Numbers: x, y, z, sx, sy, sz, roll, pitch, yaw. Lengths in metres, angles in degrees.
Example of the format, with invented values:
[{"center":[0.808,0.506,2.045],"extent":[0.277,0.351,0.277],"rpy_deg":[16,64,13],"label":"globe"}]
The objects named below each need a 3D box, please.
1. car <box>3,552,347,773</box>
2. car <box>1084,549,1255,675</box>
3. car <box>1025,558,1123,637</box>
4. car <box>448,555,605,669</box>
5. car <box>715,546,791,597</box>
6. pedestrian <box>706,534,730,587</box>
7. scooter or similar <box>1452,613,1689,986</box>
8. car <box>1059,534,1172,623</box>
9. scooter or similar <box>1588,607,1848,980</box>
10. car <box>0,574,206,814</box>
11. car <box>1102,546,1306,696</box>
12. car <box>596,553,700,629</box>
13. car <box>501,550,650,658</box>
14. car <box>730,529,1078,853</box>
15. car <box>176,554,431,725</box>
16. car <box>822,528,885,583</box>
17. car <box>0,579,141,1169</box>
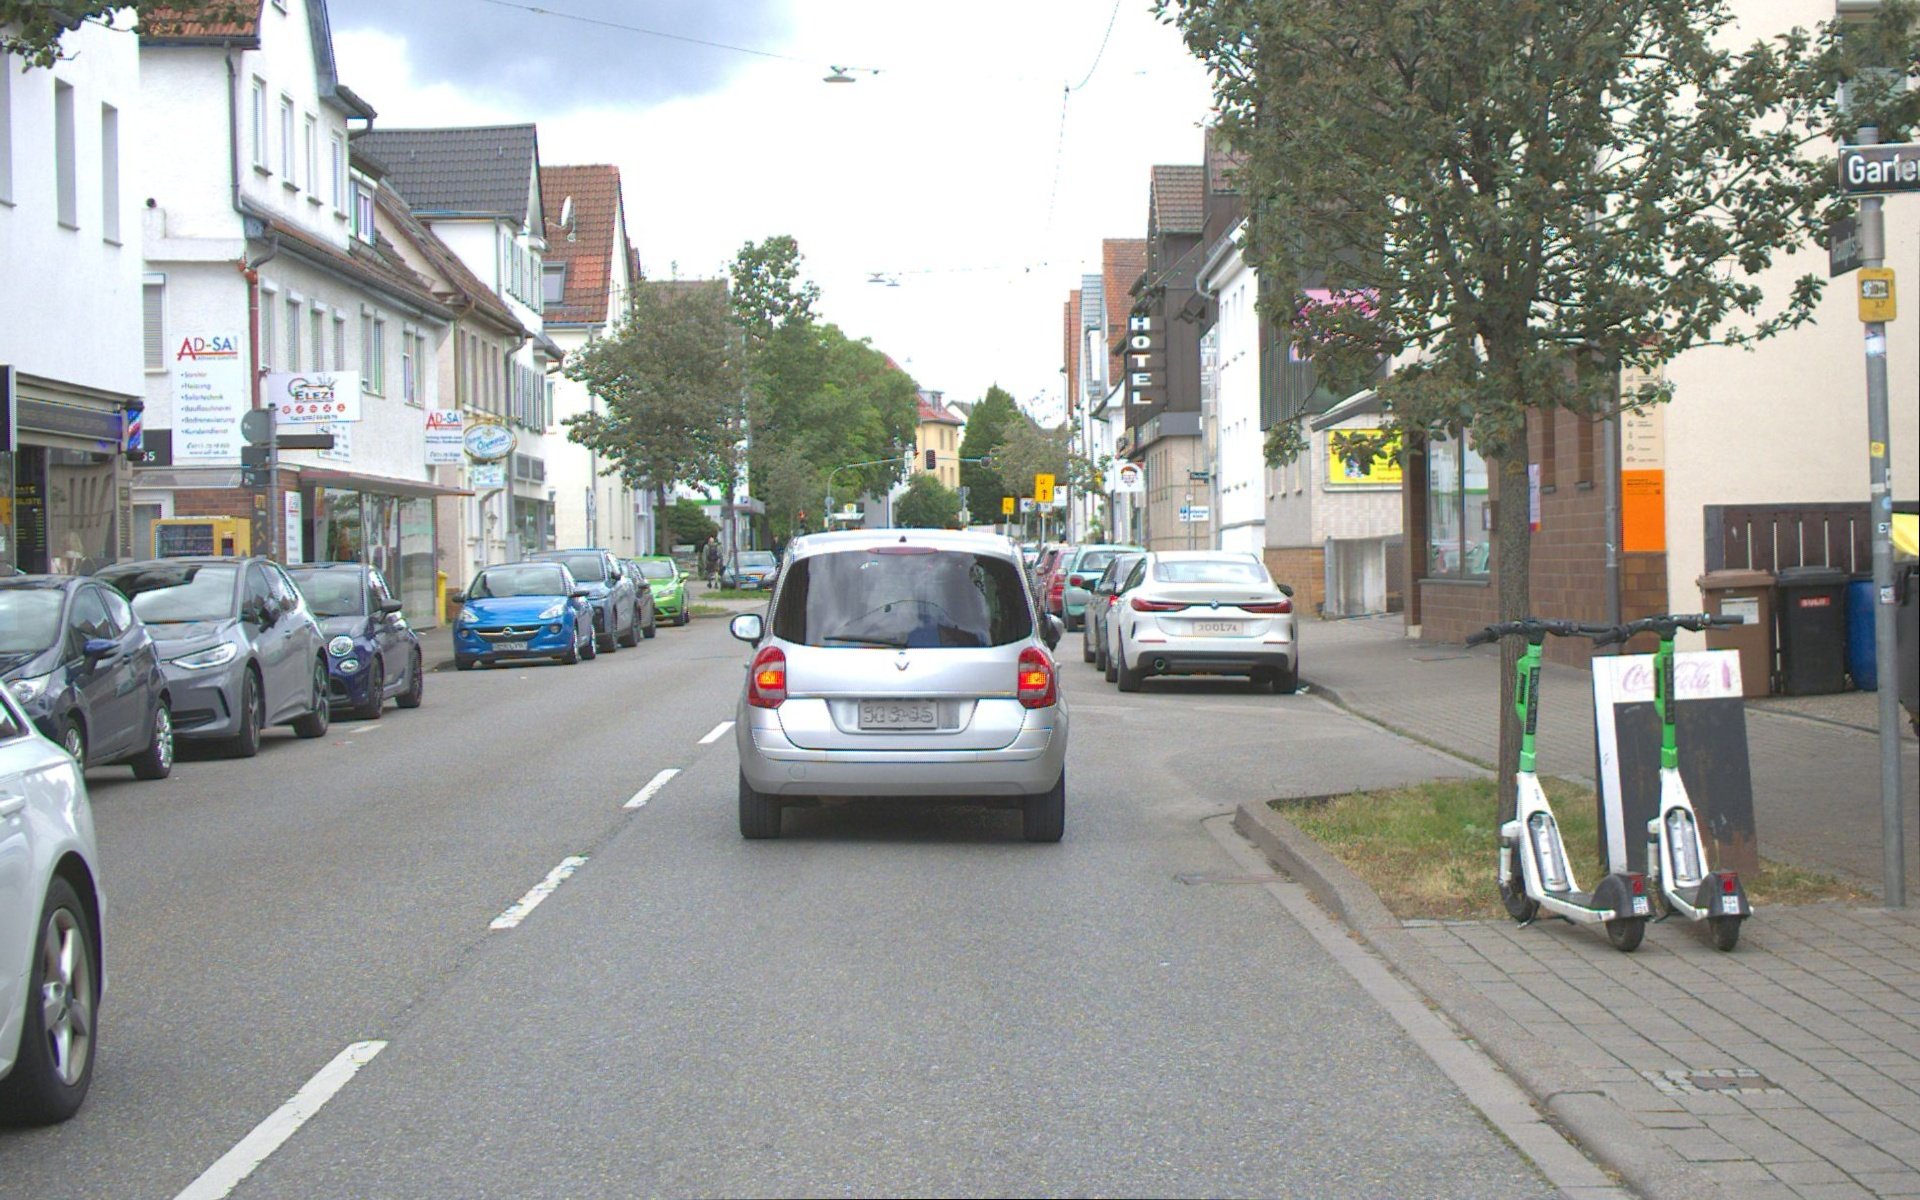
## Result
[{"center":[-6.178,0.435,27.509],"extent":[1.710,1.560,4.113],"rpy_deg":[-2,1,1],"label":"car"},{"center":[2.477,0.109,41.473],"extent":[1.831,1.441,4.110],"rpy_deg":[0,1,1],"label":"car"},{"center":[2.150,-0.075,65.592],"extent":[1.755,1.441,4.455],"rpy_deg":[0,1,1],"label":"car"},{"center":[-6.145,0.142,49.089],"extent":[1.682,1.494,3.775],"rpy_deg":[-2,1,1],"label":"car"},{"center":[-6.353,-0.889,105.834],"extent":[1.948,1.462,4.516],"rpy_deg":[-3,1,0],"label":"car"},{"center":[-8.253,-1.346,117.066],"extent":[0.762,1.785,0.890],"rpy_deg":[0,1,0],"label":"pedestrian"},{"center":[2.209,0.681,12.632],"extent":[0.502,1.231,1.942],"rpy_deg":[0,1,-1],"label":"scooter or similar"},{"center":[2.694,-0.394,60.266],"extent":[1.831,1.492,3.993],"rpy_deg":[0,1,1],"label":"car"},{"center":[2.744,0.658,12.611],"extent":[0.502,1.231,1.942],"rpy_deg":[0,1,-1],"label":"scooter or similar"},{"center":[-6.292,0.585,22.870],"extent":[1.682,1.420,3.931],"rpy_deg":[-2,1,-1],"label":"car"},{"center":[2.456,0.176,35.478],"extent":[1.831,1.441,4.332],"rpy_deg":[0,1,1],"label":"car"},{"center":[-6.396,-0.202,70.782],"extent":[1.682,1.442,4.020],"rpy_deg":[-2,1,1],"label":"car"},{"center":[-6.106,0.027,55.073],"extent":[1.803,1.593,4.304],"rpy_deg":[-2,1,1],"label":"car"},{"center":[-0.254,0.412,18.674],"extent":[1.682,1.560,3.993],"rpy_deg":[0,1,1],"label":"car"},{"center":[-6.263,0.341,33.153],"extent":[1.682,1.488,3.591],"rpy_deg":[-2,1,1],"label":"car"},{"center":[-3.583,-1.516,116.543],"extent":[1.900,1.731,4.366],"rpy_deg":[-2,1,1],"label":"car"},{"center":[-3.281,0.719,7.572],"extent":[1.842,1.428,4.543],"rpy_deg":[-2,1,0],"label":"car"}]
